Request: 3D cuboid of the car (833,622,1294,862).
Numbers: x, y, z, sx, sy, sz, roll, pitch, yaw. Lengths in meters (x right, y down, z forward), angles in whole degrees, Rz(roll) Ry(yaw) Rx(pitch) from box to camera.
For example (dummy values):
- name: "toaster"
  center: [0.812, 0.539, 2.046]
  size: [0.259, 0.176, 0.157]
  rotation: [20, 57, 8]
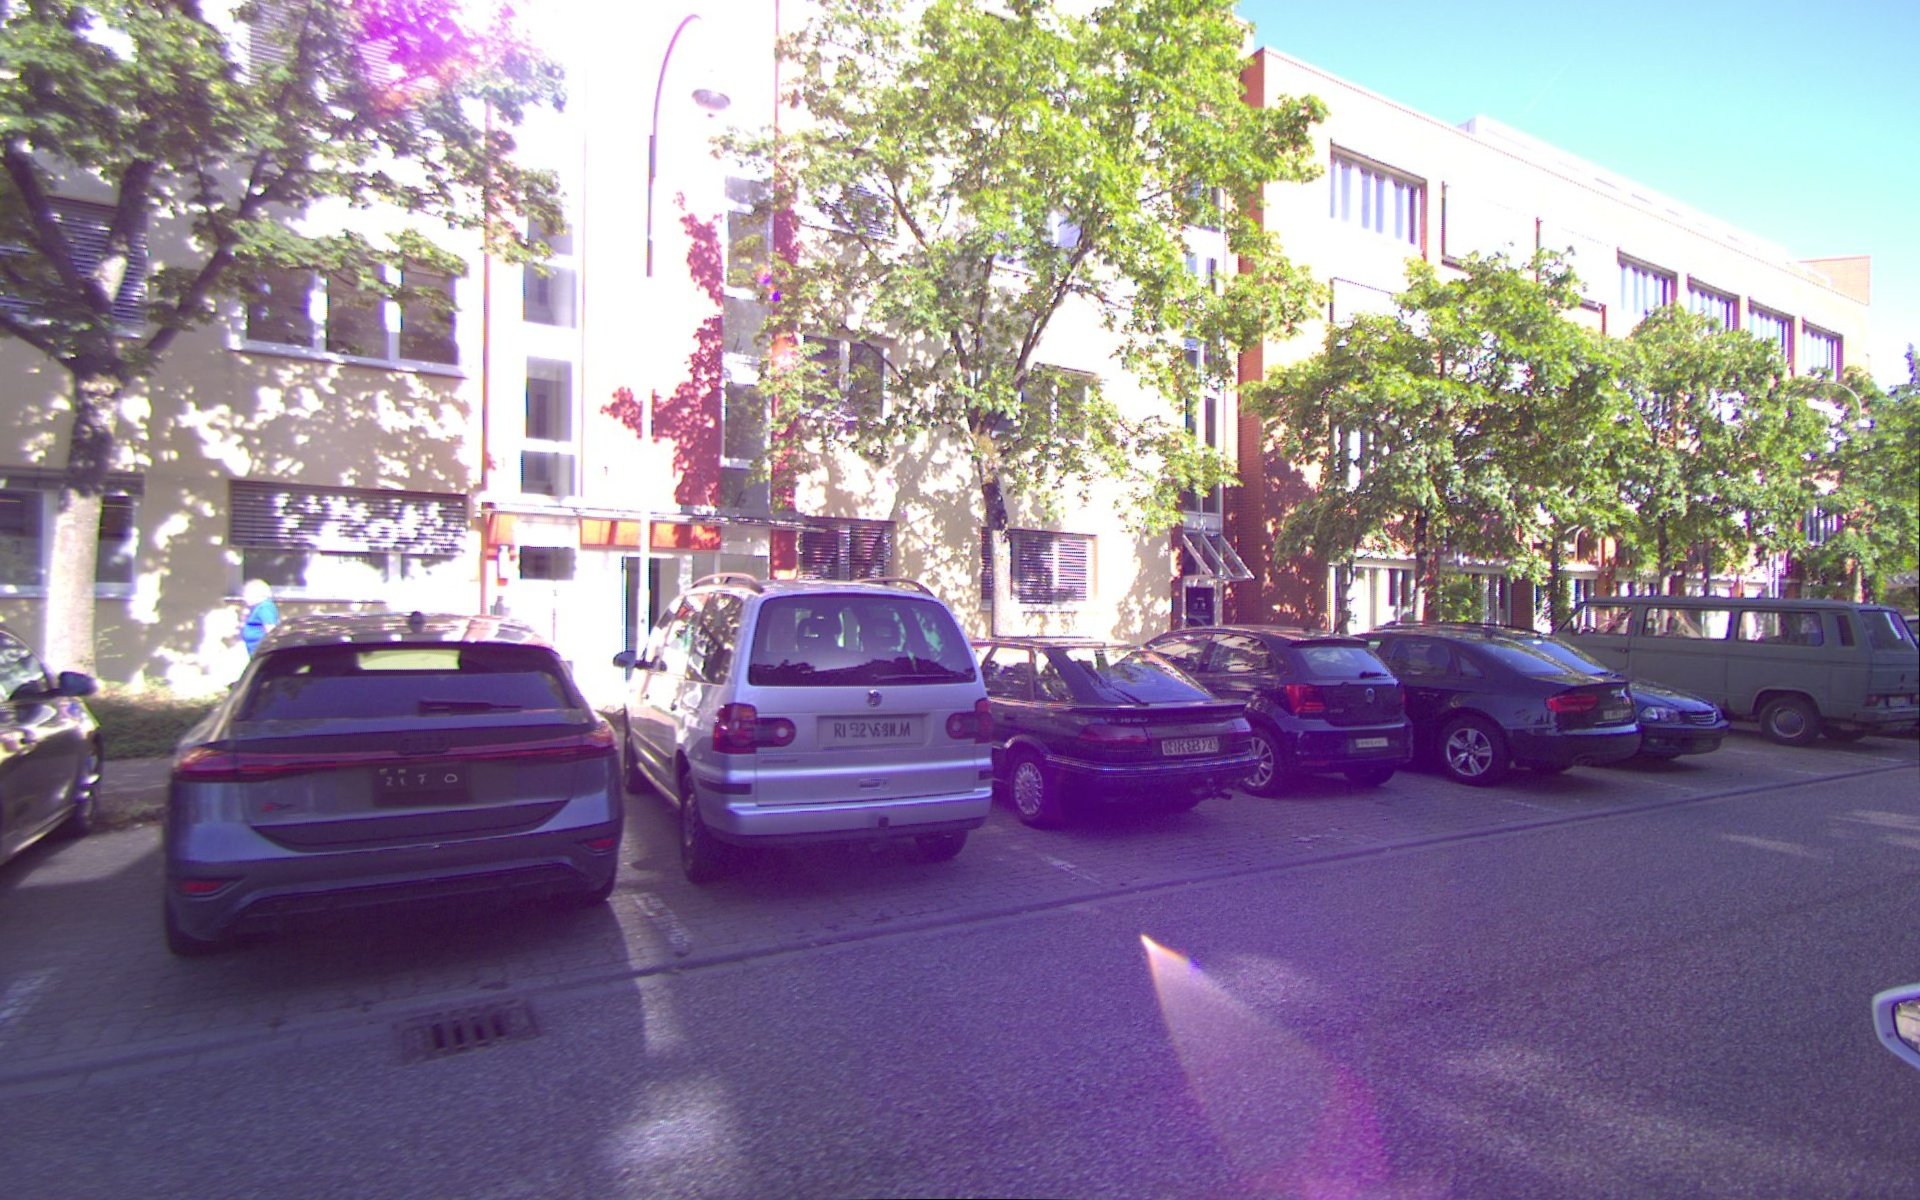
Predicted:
- name: "car"
  center: [0.569, 0.955, 8.653]
  size: [1.737, 1.376, 4.299]
  rotation: [1, 0, -30]

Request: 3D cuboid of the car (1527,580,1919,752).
- name: "car"
  center: [11.149, 0.802, 14.779]
  size: [2.056, 2.118, 4.470]
  rotation: [1, 0, -28]

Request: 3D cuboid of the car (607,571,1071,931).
- name: "car"
  center: [-1.212, 0.721, 7.225]
  size: [1.937, 1.740, 4.304]
  rotation: [1, 0, -27]

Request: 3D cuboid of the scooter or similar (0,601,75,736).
- name: "scooter or similar"
  center: [-11.043, 0.743, 10.865]
  size: [2.085, 1.465, 0.651]
  rotation: [1, -2, -31]

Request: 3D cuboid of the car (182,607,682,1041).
- name: "car"
  center: [-3.127, 0.821, 5.883]
  size: [1.753, 1.446, 4.379]
  rotation: [1, 0, -31]

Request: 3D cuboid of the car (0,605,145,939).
- name: "car"
  center: [-5.789, 0.784, 5.294]
  size: [1.752, 1.446, 3.707]
  rotation: [1, 0, -30]

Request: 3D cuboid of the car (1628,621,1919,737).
- name: "car"
  center: [13.470, 1.158, 16.031]
  size: [1.918, 1.497, 4.303]
  rotation: [1, 0, -28]

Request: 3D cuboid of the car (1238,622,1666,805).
- name: "car"
  center: [4.982, 1.016, 10.610]
  size: [1.708, 1.446, 3.701]
  rotation: [1, 0, -35]

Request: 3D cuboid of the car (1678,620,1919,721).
- name: "car"
  center: [15.585, 1.185, 17.767]
  size: [1.918, 1.497, 4.303]
  rotation: [1, 0, -28]

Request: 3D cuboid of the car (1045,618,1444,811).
- name: "car"
  center: [2.630, 0.960, 10.096]
  size: [1.705, 1.446, 3.707]
  rotation: [1, 0, -30]

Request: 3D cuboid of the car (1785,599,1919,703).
- name: "car"
  center: [19.749, 1.036, 19.654]
  size: [1.920, 1.993, 5.233]
  rotation: [1, 0, -30]

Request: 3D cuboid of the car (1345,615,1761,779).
- name: "car"
  center: [7.031, 1.028, 12.391]
  size: [1.704, 1.548, 4.113]
  rotation: [1, 0, -29]
